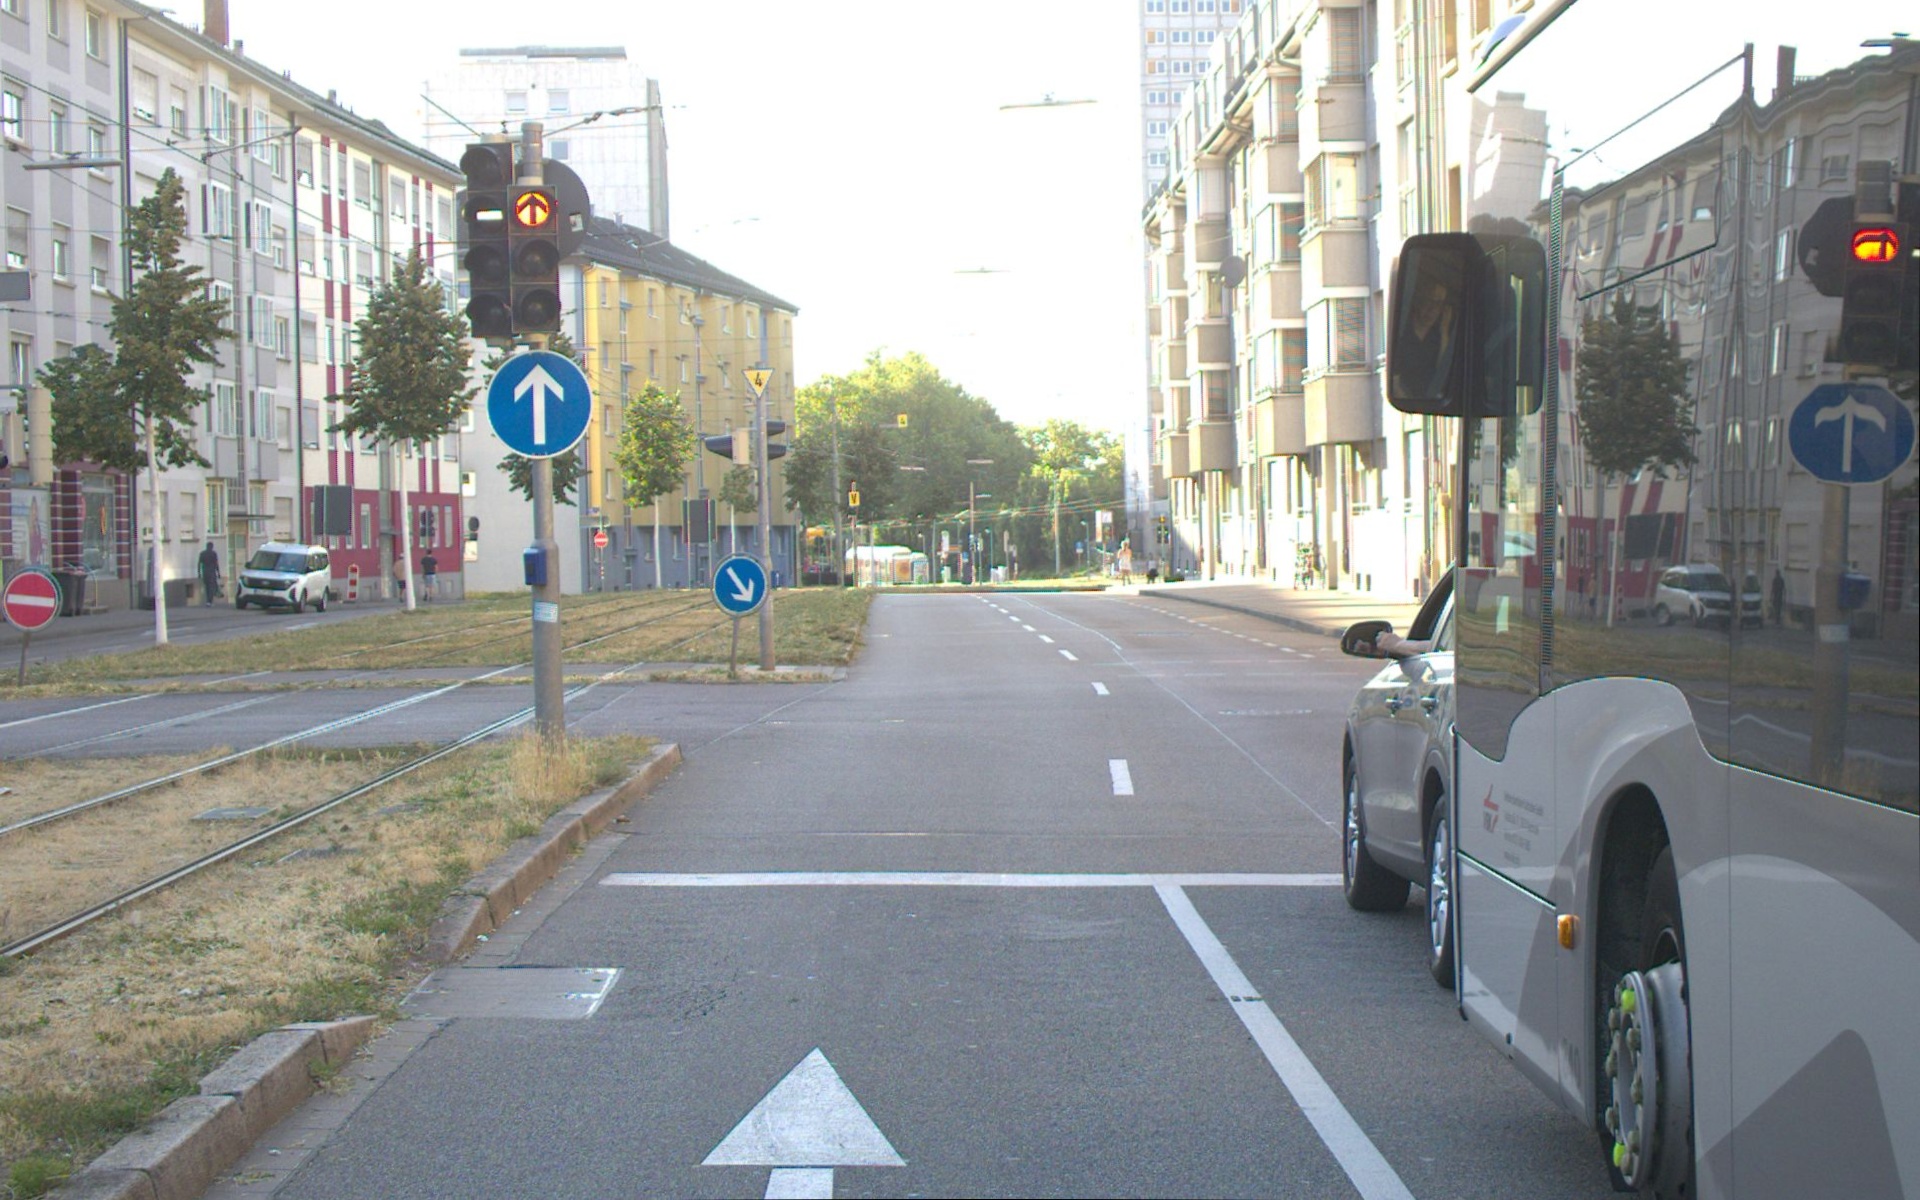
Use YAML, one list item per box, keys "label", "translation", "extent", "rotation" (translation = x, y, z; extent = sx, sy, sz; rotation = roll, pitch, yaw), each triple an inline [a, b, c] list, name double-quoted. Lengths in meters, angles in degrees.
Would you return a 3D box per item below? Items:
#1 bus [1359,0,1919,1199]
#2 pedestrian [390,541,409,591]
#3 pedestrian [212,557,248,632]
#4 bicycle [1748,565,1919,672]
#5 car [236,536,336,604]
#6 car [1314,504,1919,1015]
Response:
- label: "bus"
  translation: [2.523, -0.093, 4.817]
  extent: [2.738, 3.045, 9.132]
  rotation: [0, 1, -1]
- label: "pedestrian"
  translation: [-18.885, -1.154, 115.842]
  extent: [0.495, 1.652, 0.408]
  rotation: [-2, 1, 0]
- label: "pedestrian"
  translation: [-19.934, -0.158, 93.869]
  extent: [0.786, 2.007, 0.891]
  rotation: [-1, 1, -4]
- label: "bicycle"
  translation: [8.230, 0.151, 31.067]
  extent: [1.978, 0.891, 0.786]
  rotation: [-3, 1, -10]
- label: "car"
  translation: [-18.228, -0.808, 93.121]
  extent: [1.812, 1.791, 4.245]
  rotation: [0, 0, 1]
- label: "car"
  translation: [2.467, 0.460, 12.903]
  extent: [1.770, 1.570, 4.086]
  rotation: [-2, 1, -1]
